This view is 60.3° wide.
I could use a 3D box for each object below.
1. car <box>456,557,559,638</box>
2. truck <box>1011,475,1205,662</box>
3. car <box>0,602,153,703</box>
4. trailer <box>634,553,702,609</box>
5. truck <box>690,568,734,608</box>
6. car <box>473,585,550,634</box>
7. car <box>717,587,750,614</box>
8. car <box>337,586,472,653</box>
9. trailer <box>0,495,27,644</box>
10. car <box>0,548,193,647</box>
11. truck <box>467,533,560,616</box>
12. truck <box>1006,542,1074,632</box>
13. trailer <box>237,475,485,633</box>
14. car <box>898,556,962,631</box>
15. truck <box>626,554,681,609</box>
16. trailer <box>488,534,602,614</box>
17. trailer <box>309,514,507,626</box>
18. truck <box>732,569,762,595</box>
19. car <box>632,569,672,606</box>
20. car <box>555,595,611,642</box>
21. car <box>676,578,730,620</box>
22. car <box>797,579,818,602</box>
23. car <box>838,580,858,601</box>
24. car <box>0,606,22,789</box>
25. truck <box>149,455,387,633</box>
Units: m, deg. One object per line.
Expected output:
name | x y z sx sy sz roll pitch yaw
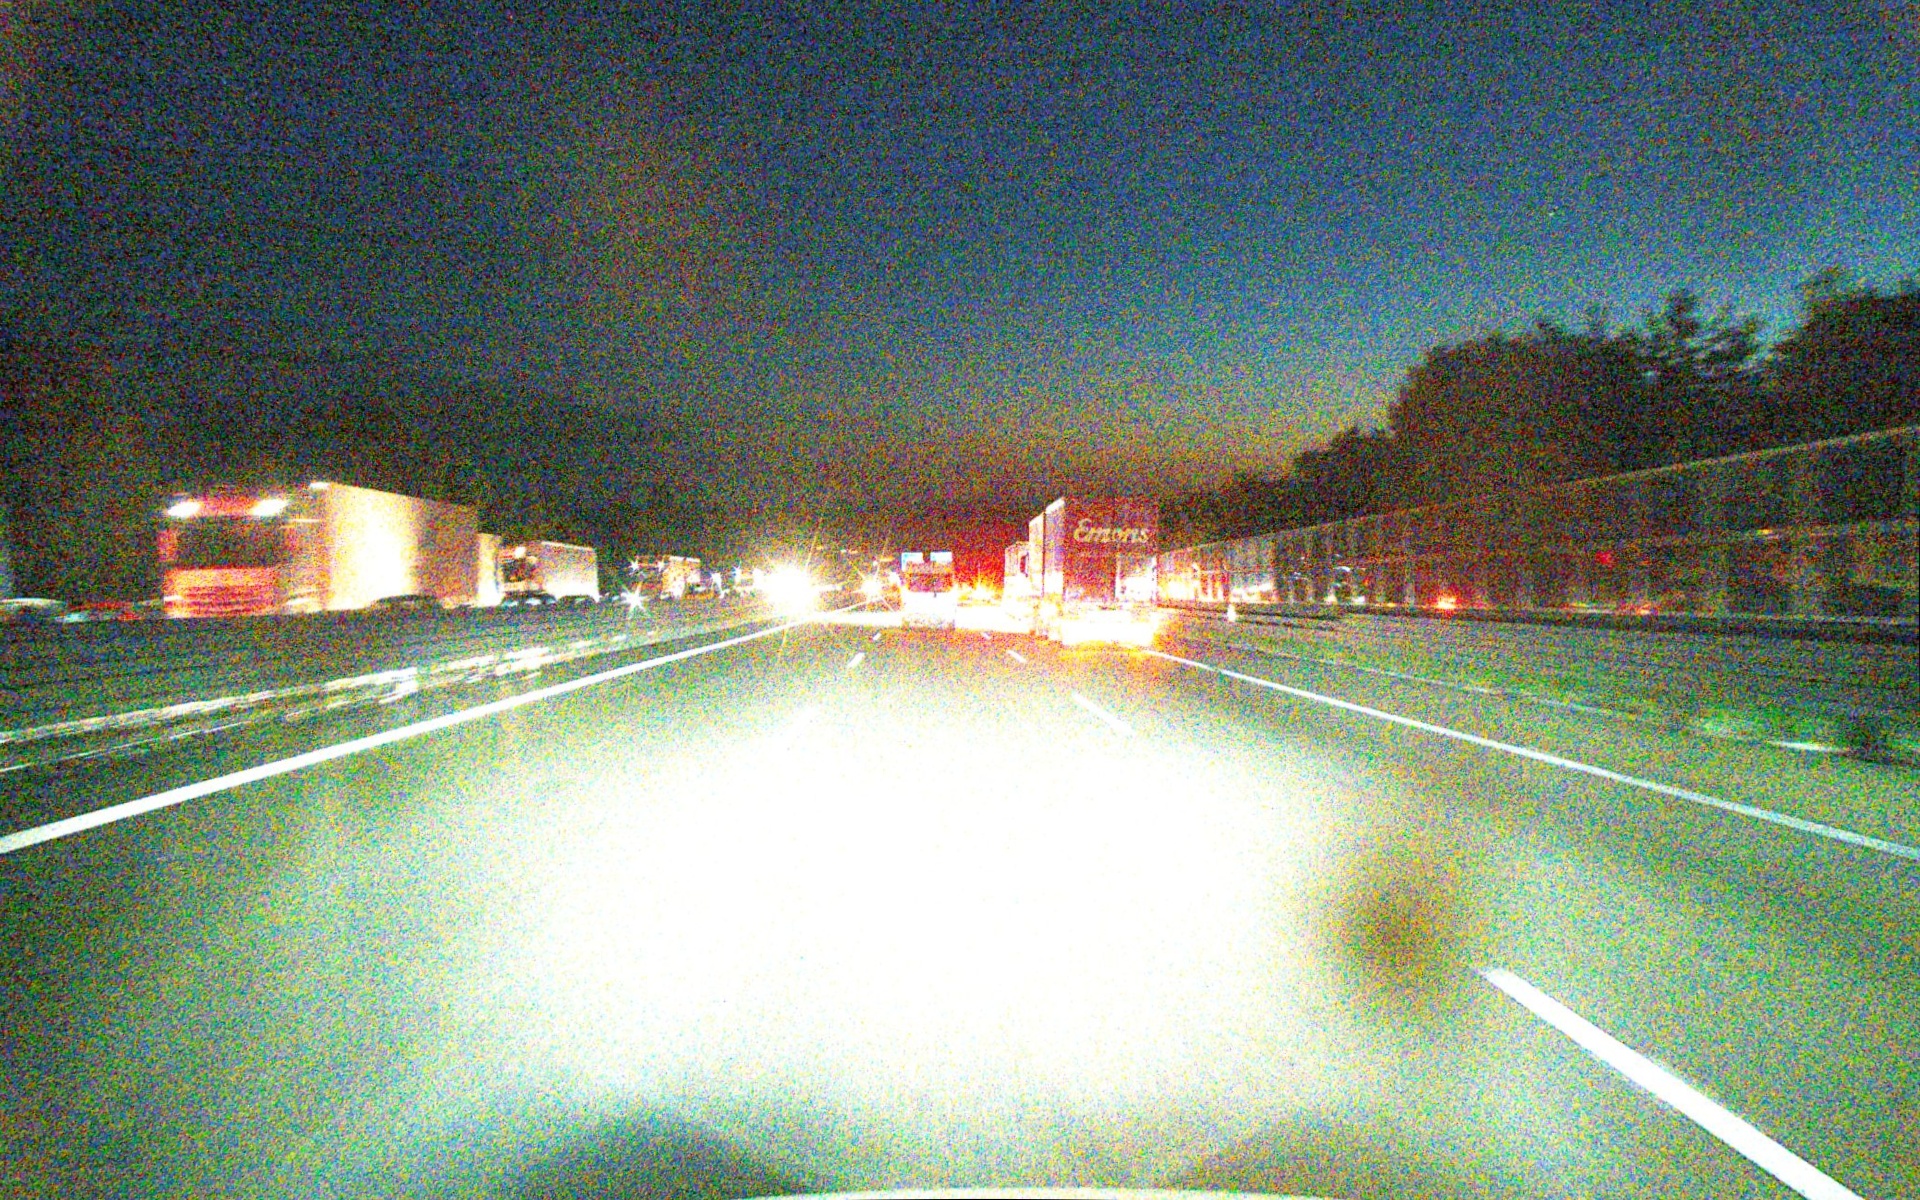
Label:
car | -12.110 -0.046 44.527 1.955 2.049 3.995 1 -1 -6
truck | 4.197 -0.752 53.735 3.836 4.708 21.011 -3 0 -1
car | -15.239 0.793 27.116 1.694 1.512 4.646 1 -1 0
trailer | -22.346 -1.346 127.397 2.827 3.916 15.063 1 -1 -1
truck | -26.702 -1.218 178.805 2.827 3.916 15.063 1 -1 -1
car | -16.619 0.371 61.477 1.955 1.715 4.501 1 -1 -6
car | -18.476 0.051 134.963 1.953 2.049 5.323 1 -1 -1
car | -12.354 0.428 37.034 1.955 1.383 3.995 1 -1 -6
trailer | -23.895 -0.718 33.289 2.900 3.502 13.433 1 0 -2
car | -19.581 -0.032 37.660 1.954 2.049 5.240 1 -1 -3
truck | -20.979 -1.193 78.023 2.816 3.737 6.050 1 1 -1
truck | 4.314 -0.738 91.914 3.275 4.554 13.911 1 1 1
trailer | -16.246 -1.045 46.127 2.827 3.736 12.210 1 -1 -2
car | -1.182 -0.209 62.366 2.290 2.686 5.245 0 -1 -2
truck | -22.137 -1.267 119.824 2.802 3.752 6.600 1 -1 -2
trailer | -21.201 -1.197 85.398 2.827 3.736 13.043 1 -1 -1
trailer | -20.676 -1.097 63.312 2.827 3.735 15.234 1 1 -1
truck | -28.468 -2.385 221.735 3.104 3.278 7.446 1 -1 -1
car | -18.270 -0.711 98.253 1.955 2.049 3.995 1 -1 -6
car | -16.965 0.838 74.592 1.955 2.049 3.995 1 -1 -6
car | -13.239 -0.003 85.564 1.953 2.049 5.324 1 -1 0
car | -14.806 -0.902 160.778 1.955 2.049 3.995 1 -1 -6
car | -11.528 -1.007 169.980 1.955 2.049 3.995 1 -1 -6
car | -11.630 1.050 16.833 1.954 2.049 3.998 1 -1 -3
truck | -15.962 -1.148 38.729 2.816 3.738 6.777 1 -1 -2
